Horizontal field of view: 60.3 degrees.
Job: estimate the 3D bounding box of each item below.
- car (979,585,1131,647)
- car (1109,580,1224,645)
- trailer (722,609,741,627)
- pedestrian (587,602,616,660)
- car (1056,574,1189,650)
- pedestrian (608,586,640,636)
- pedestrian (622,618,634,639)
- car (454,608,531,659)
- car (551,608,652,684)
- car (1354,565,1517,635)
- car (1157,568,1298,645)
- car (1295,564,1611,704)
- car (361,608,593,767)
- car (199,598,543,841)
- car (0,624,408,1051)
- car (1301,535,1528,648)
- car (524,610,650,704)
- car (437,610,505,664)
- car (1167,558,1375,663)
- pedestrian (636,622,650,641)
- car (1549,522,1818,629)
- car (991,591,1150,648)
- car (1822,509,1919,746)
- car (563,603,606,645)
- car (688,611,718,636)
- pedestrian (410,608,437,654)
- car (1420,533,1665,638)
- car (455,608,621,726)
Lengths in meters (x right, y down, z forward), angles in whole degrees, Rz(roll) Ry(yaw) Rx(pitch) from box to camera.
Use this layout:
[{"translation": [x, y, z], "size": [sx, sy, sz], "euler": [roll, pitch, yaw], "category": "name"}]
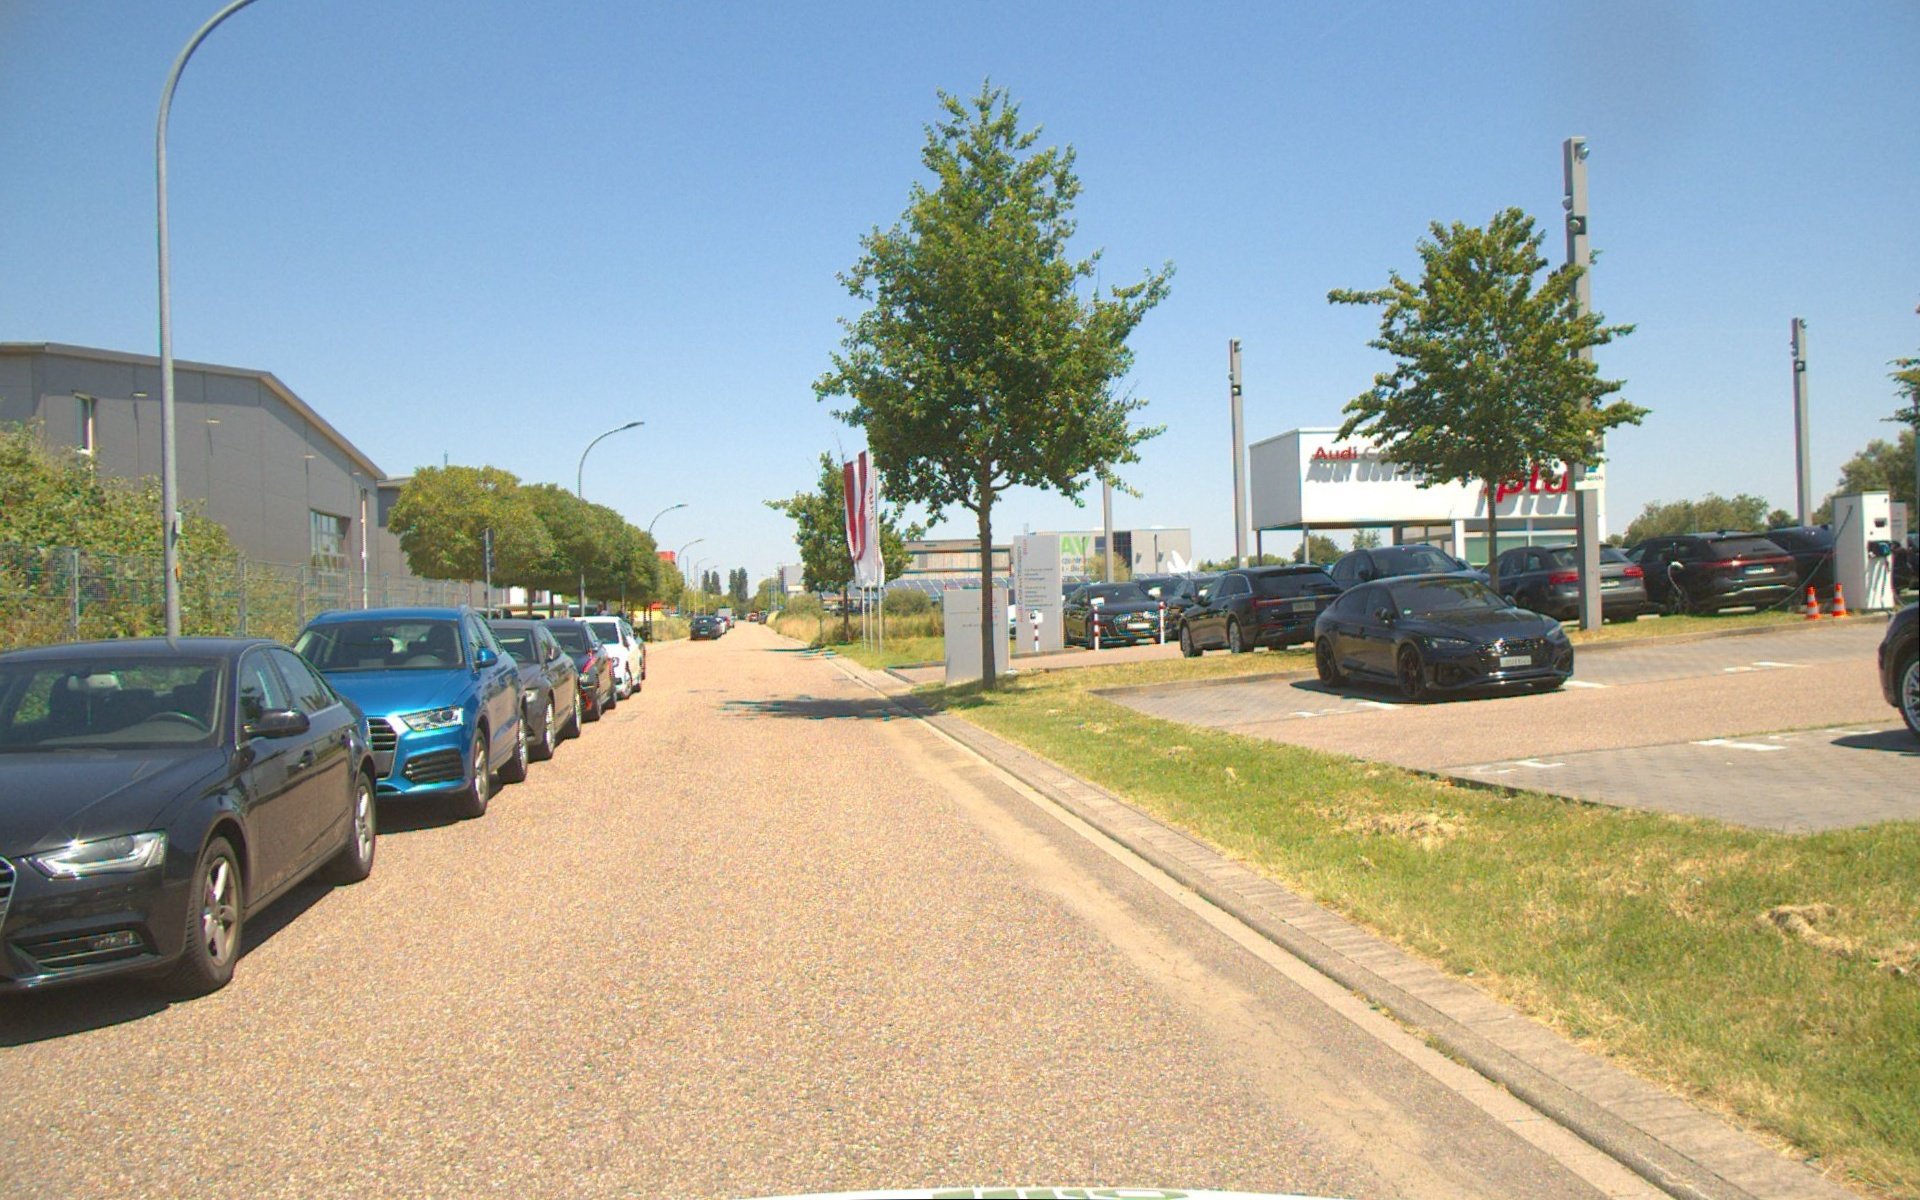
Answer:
[{"translation": [2.997, 0.501, 52.809], "size": [4.446, 1.722, 2.027], "euler": [-3, -1, -10], "category": "car"}, {"translation": [5.628, 0.356, 45.761], "size": [1.986, 1.617, 4.771], "euler": [-3, 0, -7], "category": "car"}, {"translation": [-28.208, 2.211, 204.291], "size": [2.159, 2.175, 4.278], "euler": [-2, -1, -8], "category": "trailer"}, {"translation": [-11.431, 0.976, 52.793], "size": [0.730, 1.833, 1.133], "euler": [1, -1, -6], "category": "pedestrian"}, {"translation": [3.788, 0.296, 39.602], "size": [1.987, 1.540, 5.230], "euler": [-4, 0, -7], "category": "car"}, {"translation": [-13.646, 0.461, 67.237], "size": [0.825, 2.007, 0.962], "euler": [0, -1, 32], "category": "pedestrian"}, {"translation": [-18.589, 1.606, 92.663], "size": [0.469, 1.170, 0.555], "euler": [2, -4, 2], "category": "pedestrian"}, {"translation": [-15.411, 1.087, 54.702], "size": [1.732, 1.601, 4.532], "euler": [1, -1, -7], "category": "car"}, {"translation": [-7.904, 0.981, 36.829], "size": [1.790, 1.526, 4.518], "euler": [-2, 0, -8], "category": "car"}, {"translation": [11.698, 0.027, 41.085], "size": [1.987, 1.482, 5.069], "euler": [-4, 0, -7], "category": "car"}, {"translation": [6.411, 0.178, 40.310], "size": [1.861, 1.600, 5.467], "euler": [-4, 0, -7], "category": "car"}, {"translation": [5.917, 0.346, 20.550], "size": [1.925, 1.390, 4.713], "euler": [-4, 1, -8], "category": "car"}, {"translation": [-5.316, 0.894, 18.768], "size": [1.790, 1.526, 4.512], "euler": [-2, 0, -7], "category": "car"}, {"translation": [-4.581, 0.837, 13.536], "size": [1.790, 1.598, 4.378], "euler": [-2, 0, -9], "category": "car"}, {"translation": [-4.060, 0.890, 8.060], "size": [1.790, 1.480, 4.571], "euler": [-2, 0, -9], "category": "car"}, {"translation": [7.682, -0.068, 28.550], "size": [1.924, 1.626, 4.976], "euler": [-3, -2, -8], "category": "car"}, {"translation": [-6.690, 0.979, 30.048], "size": [1.790, 1.526, 4.252], "euler": [-2, 0, -7], "category": "car"}, {"translation": [-14.679, 1.088, 49.747], "size": [1.653, 1.526, 3.693], "euler": [-1, 0, -12], "category": "car"}, {"translation": [5.096, 0.248, 27.876], "size": [1.924, 1.482, 4.976], "euler": [-3, -2, -8], "category": "car"}, {"translation": [-19.760, 1.960, 103.027], "size": [0.735, 1.118, 0.646], "euler": [2, -1, -4], "category": "pedestrian"}, {"translation": [12.388, -0.349, 28.766], "size": [1.924, 1.482, 4.976], "euler": [-3, -2, -8], "category": "car"}, {"translation": [3.323, 0.589, 50.134], "size": [4.446, 1.483, 2.027], "euler": [-3, 0, -10], "category": "car"}, {"translation": [7.528, 0.103, 10.054], "size": [1.853, 1.598, 4.219], "euler": [-4, 0, -9], "category": "car"}, {"translation": [-19.538, 1.253, 86.229], "size": [1.803, 2.054, 5.114], "euler": [1, -1, -9], "category": "car"}, {"translation": [-17.227, 1.546, 111.000], "size": [1.891, 1.595, 4.181], "euler": [-2, 0, -9], "category": "car"}, {"translation": [-20.729, 1.204, 63.902], "size": [0.824, 1.743, 0.963], "euler": [1, -1, -8], "category": "pedestrian"}, {"translation": [9.940, -0.181, 28.719], "size": [1.924, 1.482, 4.976], "euler": [-3, -2, -8], "category": "car"}, {"translation": [-6.151, 0.925, 24.575], "size": [1.790, 1.526, 4.512], "euler": [-2, 0, -7], "category": "car"}]
